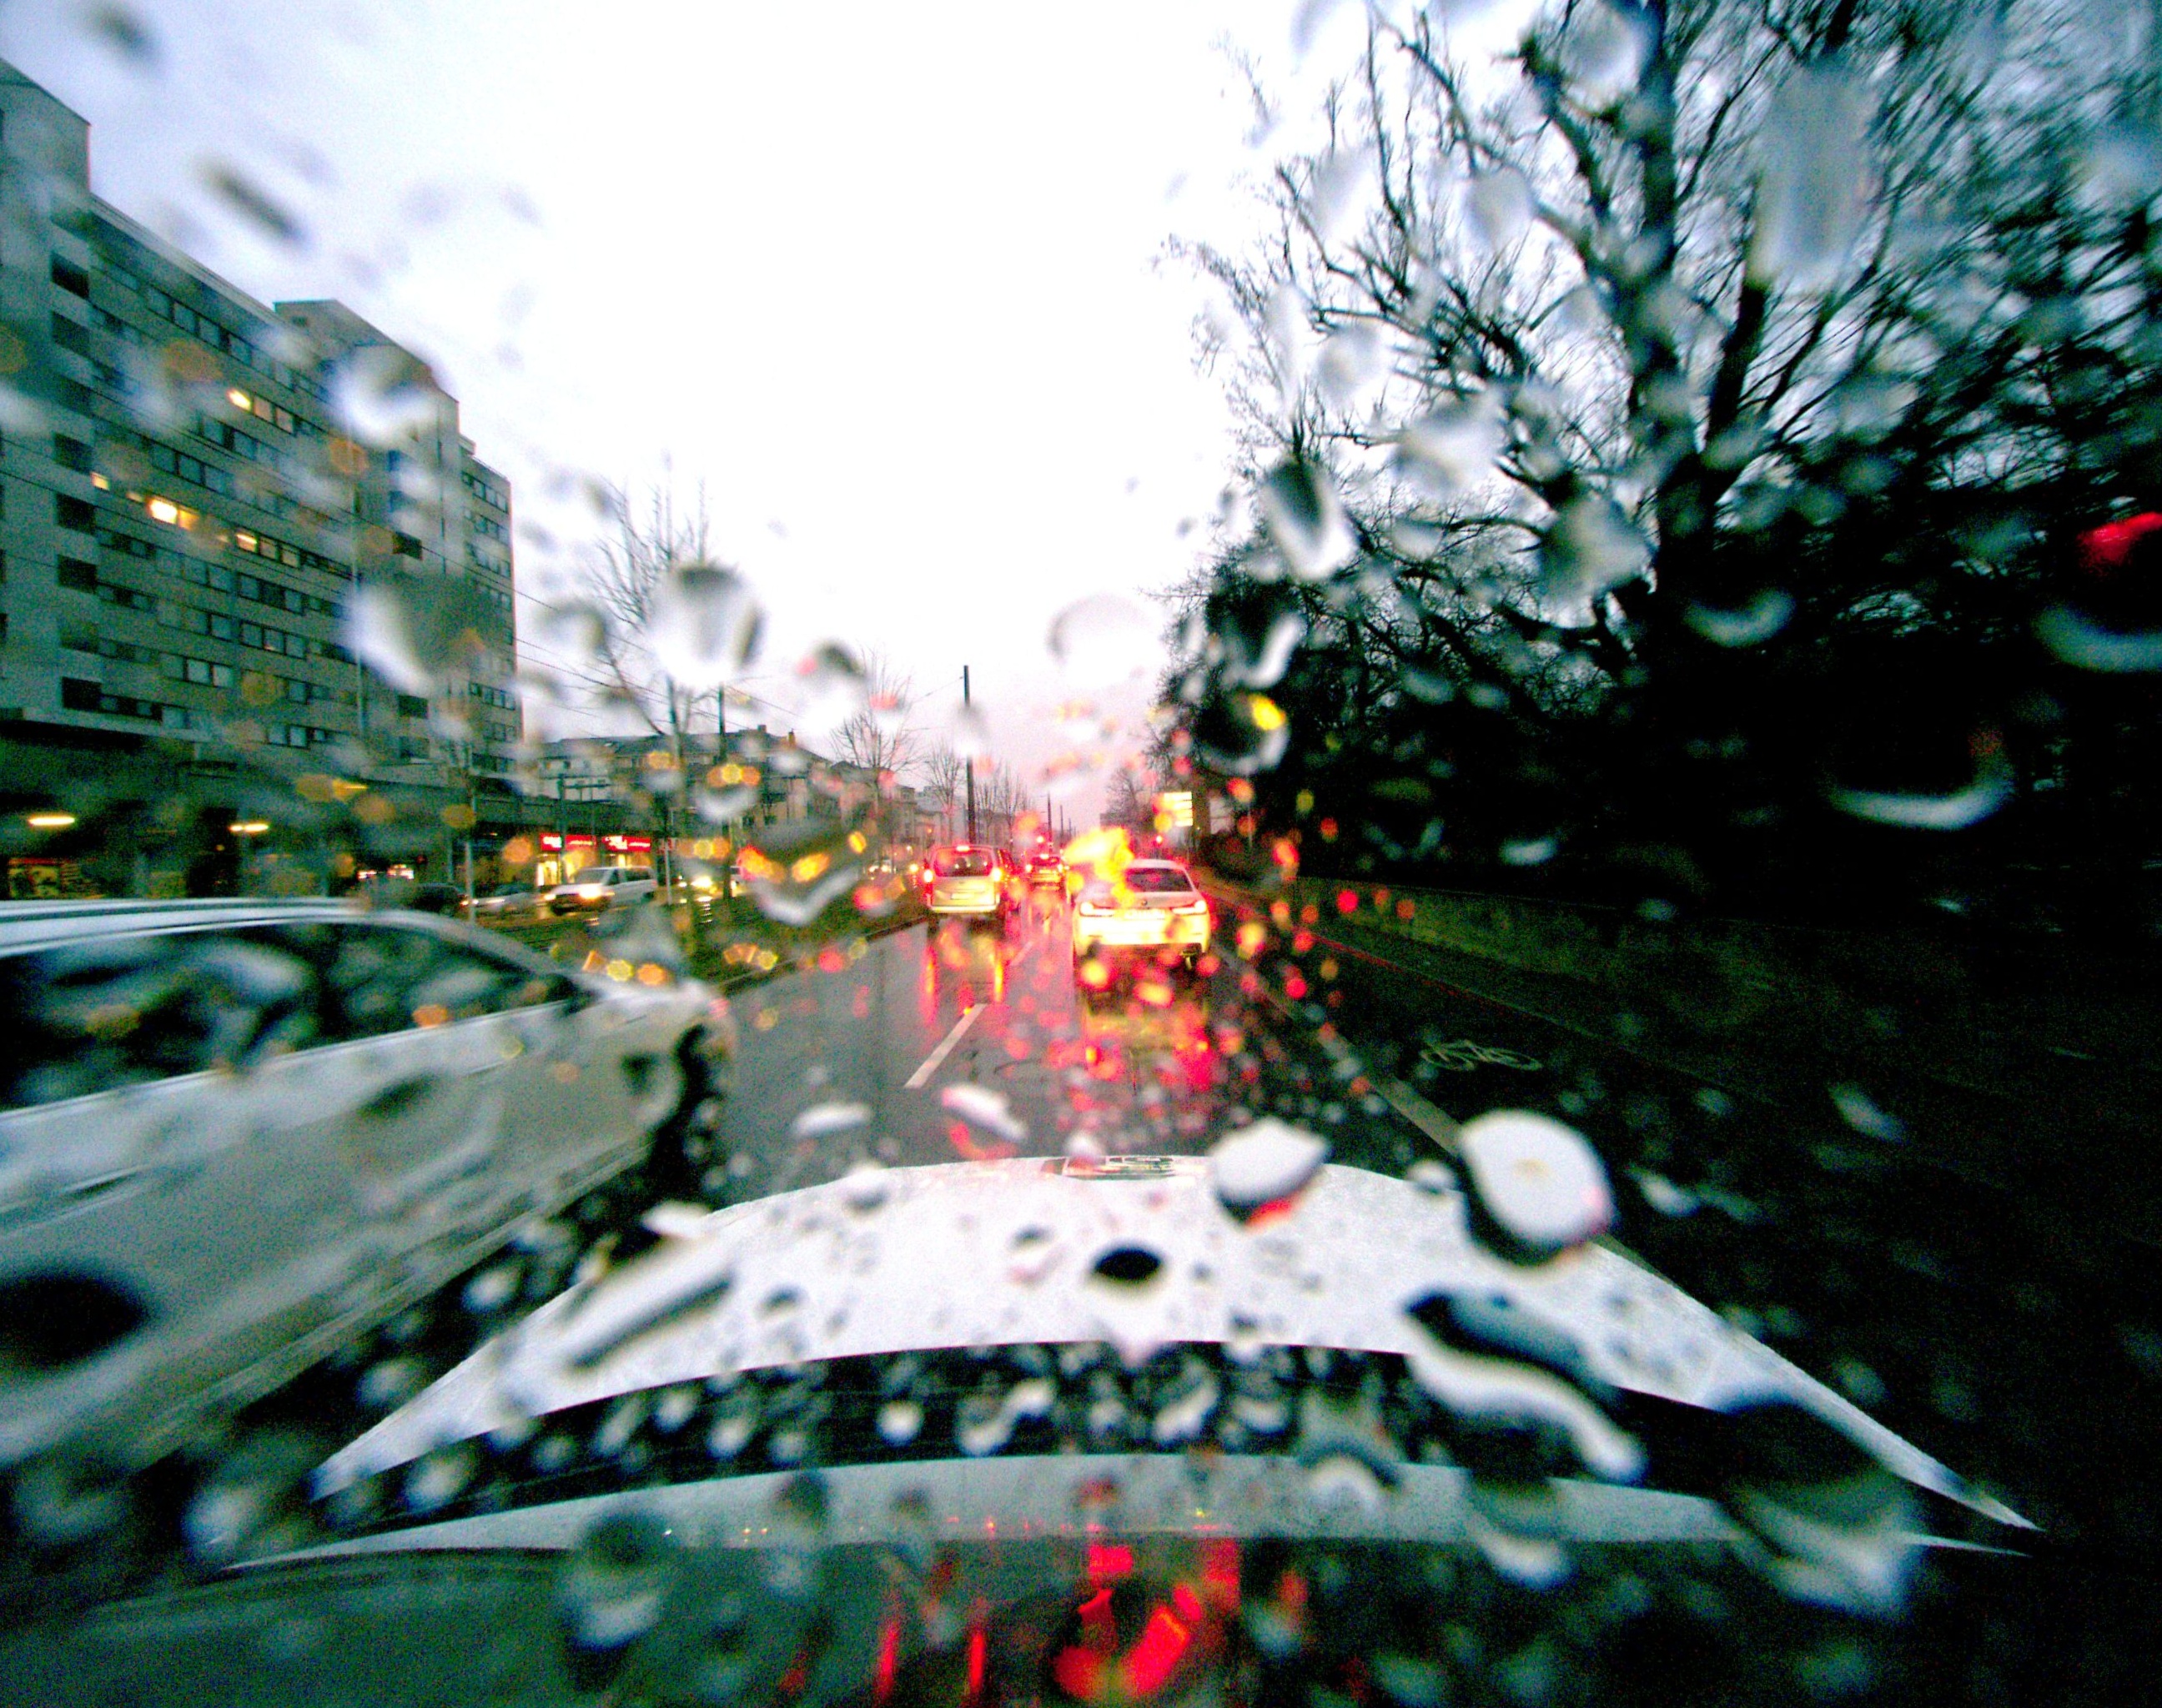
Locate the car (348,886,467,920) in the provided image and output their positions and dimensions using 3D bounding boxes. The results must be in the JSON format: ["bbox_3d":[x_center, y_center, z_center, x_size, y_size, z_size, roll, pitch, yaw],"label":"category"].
[{"bbox_3d":[-31.106,2.231,37.780,4.015,1.387,1.916,1,-1,-34],"label":"car"}]

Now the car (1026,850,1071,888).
[{"bbox_3d":[-1.470,0.651,38.235,1.800,1.646,4.002,-1,0,2],"label":"car"}]

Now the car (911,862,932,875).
[{"bbox_3d":[-20.896,1.870,106.970,1.890,1.634,4.578,-2,0,-1],"label":"car"}]

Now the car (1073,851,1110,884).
[{"bbox_3d":[0.575,0.674,42.493,1.800,1.646,4.002,-1,0,2],"label":"car"}]

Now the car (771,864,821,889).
[{"bbox_3d":[-22.111,1.740,63.340,1.888,1.719,4.919,-2,0,2],"label":"car"}]

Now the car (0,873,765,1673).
[{"bbox_3d":[-2.876,0.817,2.529,1.839,1.405,4.616,-1,0,2],"label":"car"}]

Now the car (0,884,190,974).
[{"bbox_3d":[-19.418,1.370,14.976,1.889,1.431,3.707,-2,0,1],"label":"car"}]

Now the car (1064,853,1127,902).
[{"bbox_3d":[0.510,0.724,27.293,1.928,1.457,4.165,-1,0,2],"label":"car"}]

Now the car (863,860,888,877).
[{"bbox_3d":[-24.706,1.759,98.209,1.990,1.912,5.154,-2,0,-5],"label":"car"}]

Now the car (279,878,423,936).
[{"bbox_3d":[-27.747,1.957,31.037,1.706,1.885,3.949,-2,0,44],"label":"car"}]

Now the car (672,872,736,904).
[{"bbox_3d":[-24.484,2.181,53.031,1.889,1.813,4.531,-2,0,2],"label":"car"}]

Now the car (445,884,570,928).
[{"bbox_3d":[-24.737,2.180,35.370,1.889,1.516,4.794,-2,0,2],"label":"car"}]

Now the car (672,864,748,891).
[{"bbox_3d":[-30.224,1.907,66.414,5.193,1.912,1.975,-2,0,-44],"label":"car"}]

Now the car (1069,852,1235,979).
[{"bbox_3d":[0.937,0.753,12.088,1.992,1.508,4.165,-1,0,2],"label":"car"}]

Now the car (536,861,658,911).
[{"bbox_3d":[-19.056,1.192,32.381,1.891,1.719,5.114,-2,0,-2],"label":"car"}]

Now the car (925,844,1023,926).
[{"bbox_3d":[-2.467,0.676,19.790,1.788,1.736,4.535,-1,0,-1],"label":"car"}]
